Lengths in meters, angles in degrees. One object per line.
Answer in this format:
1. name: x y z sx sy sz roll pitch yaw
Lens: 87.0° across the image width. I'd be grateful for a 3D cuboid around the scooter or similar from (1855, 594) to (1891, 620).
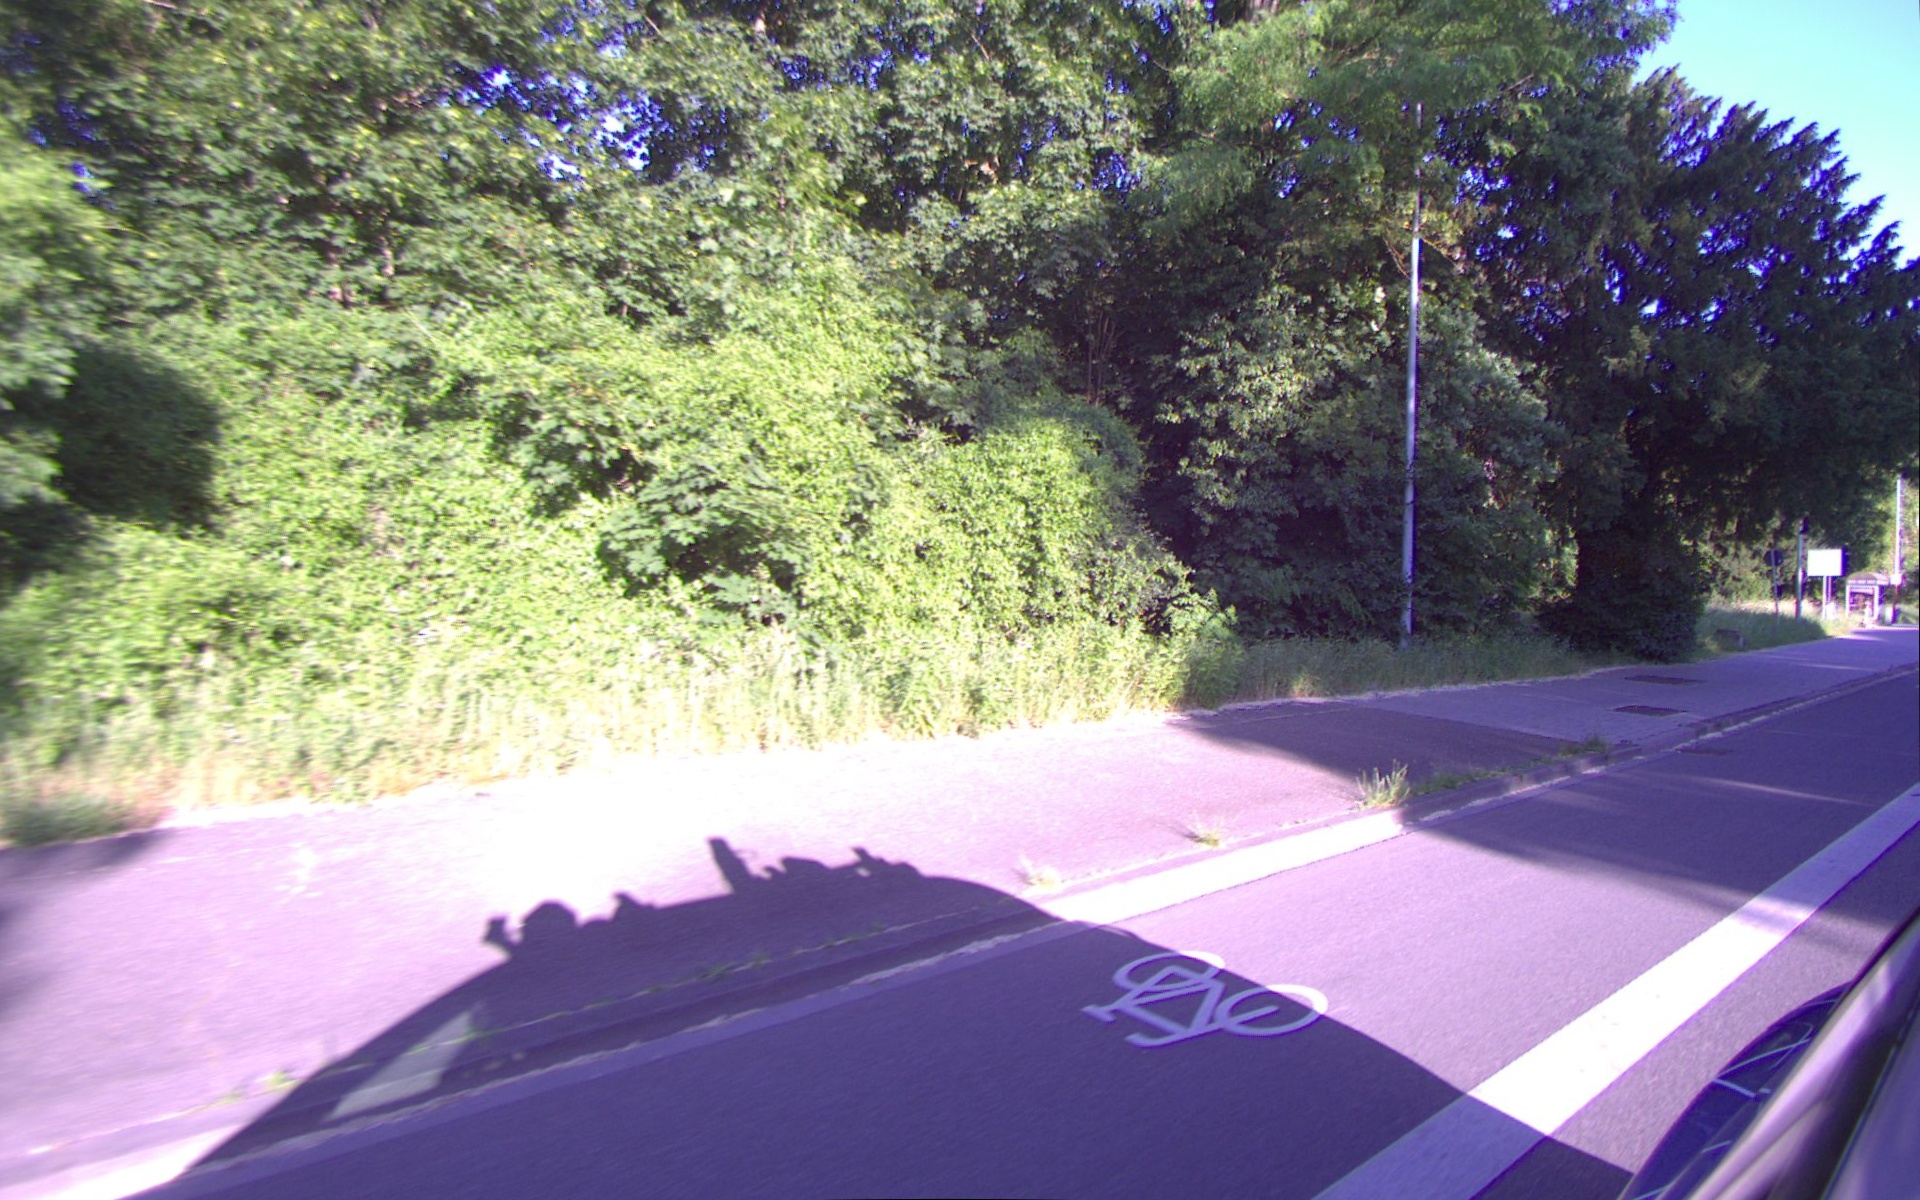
1. scooter or similar: 45.499 0.353 50.448 1.300 1.263 0.726 1 1 -17
